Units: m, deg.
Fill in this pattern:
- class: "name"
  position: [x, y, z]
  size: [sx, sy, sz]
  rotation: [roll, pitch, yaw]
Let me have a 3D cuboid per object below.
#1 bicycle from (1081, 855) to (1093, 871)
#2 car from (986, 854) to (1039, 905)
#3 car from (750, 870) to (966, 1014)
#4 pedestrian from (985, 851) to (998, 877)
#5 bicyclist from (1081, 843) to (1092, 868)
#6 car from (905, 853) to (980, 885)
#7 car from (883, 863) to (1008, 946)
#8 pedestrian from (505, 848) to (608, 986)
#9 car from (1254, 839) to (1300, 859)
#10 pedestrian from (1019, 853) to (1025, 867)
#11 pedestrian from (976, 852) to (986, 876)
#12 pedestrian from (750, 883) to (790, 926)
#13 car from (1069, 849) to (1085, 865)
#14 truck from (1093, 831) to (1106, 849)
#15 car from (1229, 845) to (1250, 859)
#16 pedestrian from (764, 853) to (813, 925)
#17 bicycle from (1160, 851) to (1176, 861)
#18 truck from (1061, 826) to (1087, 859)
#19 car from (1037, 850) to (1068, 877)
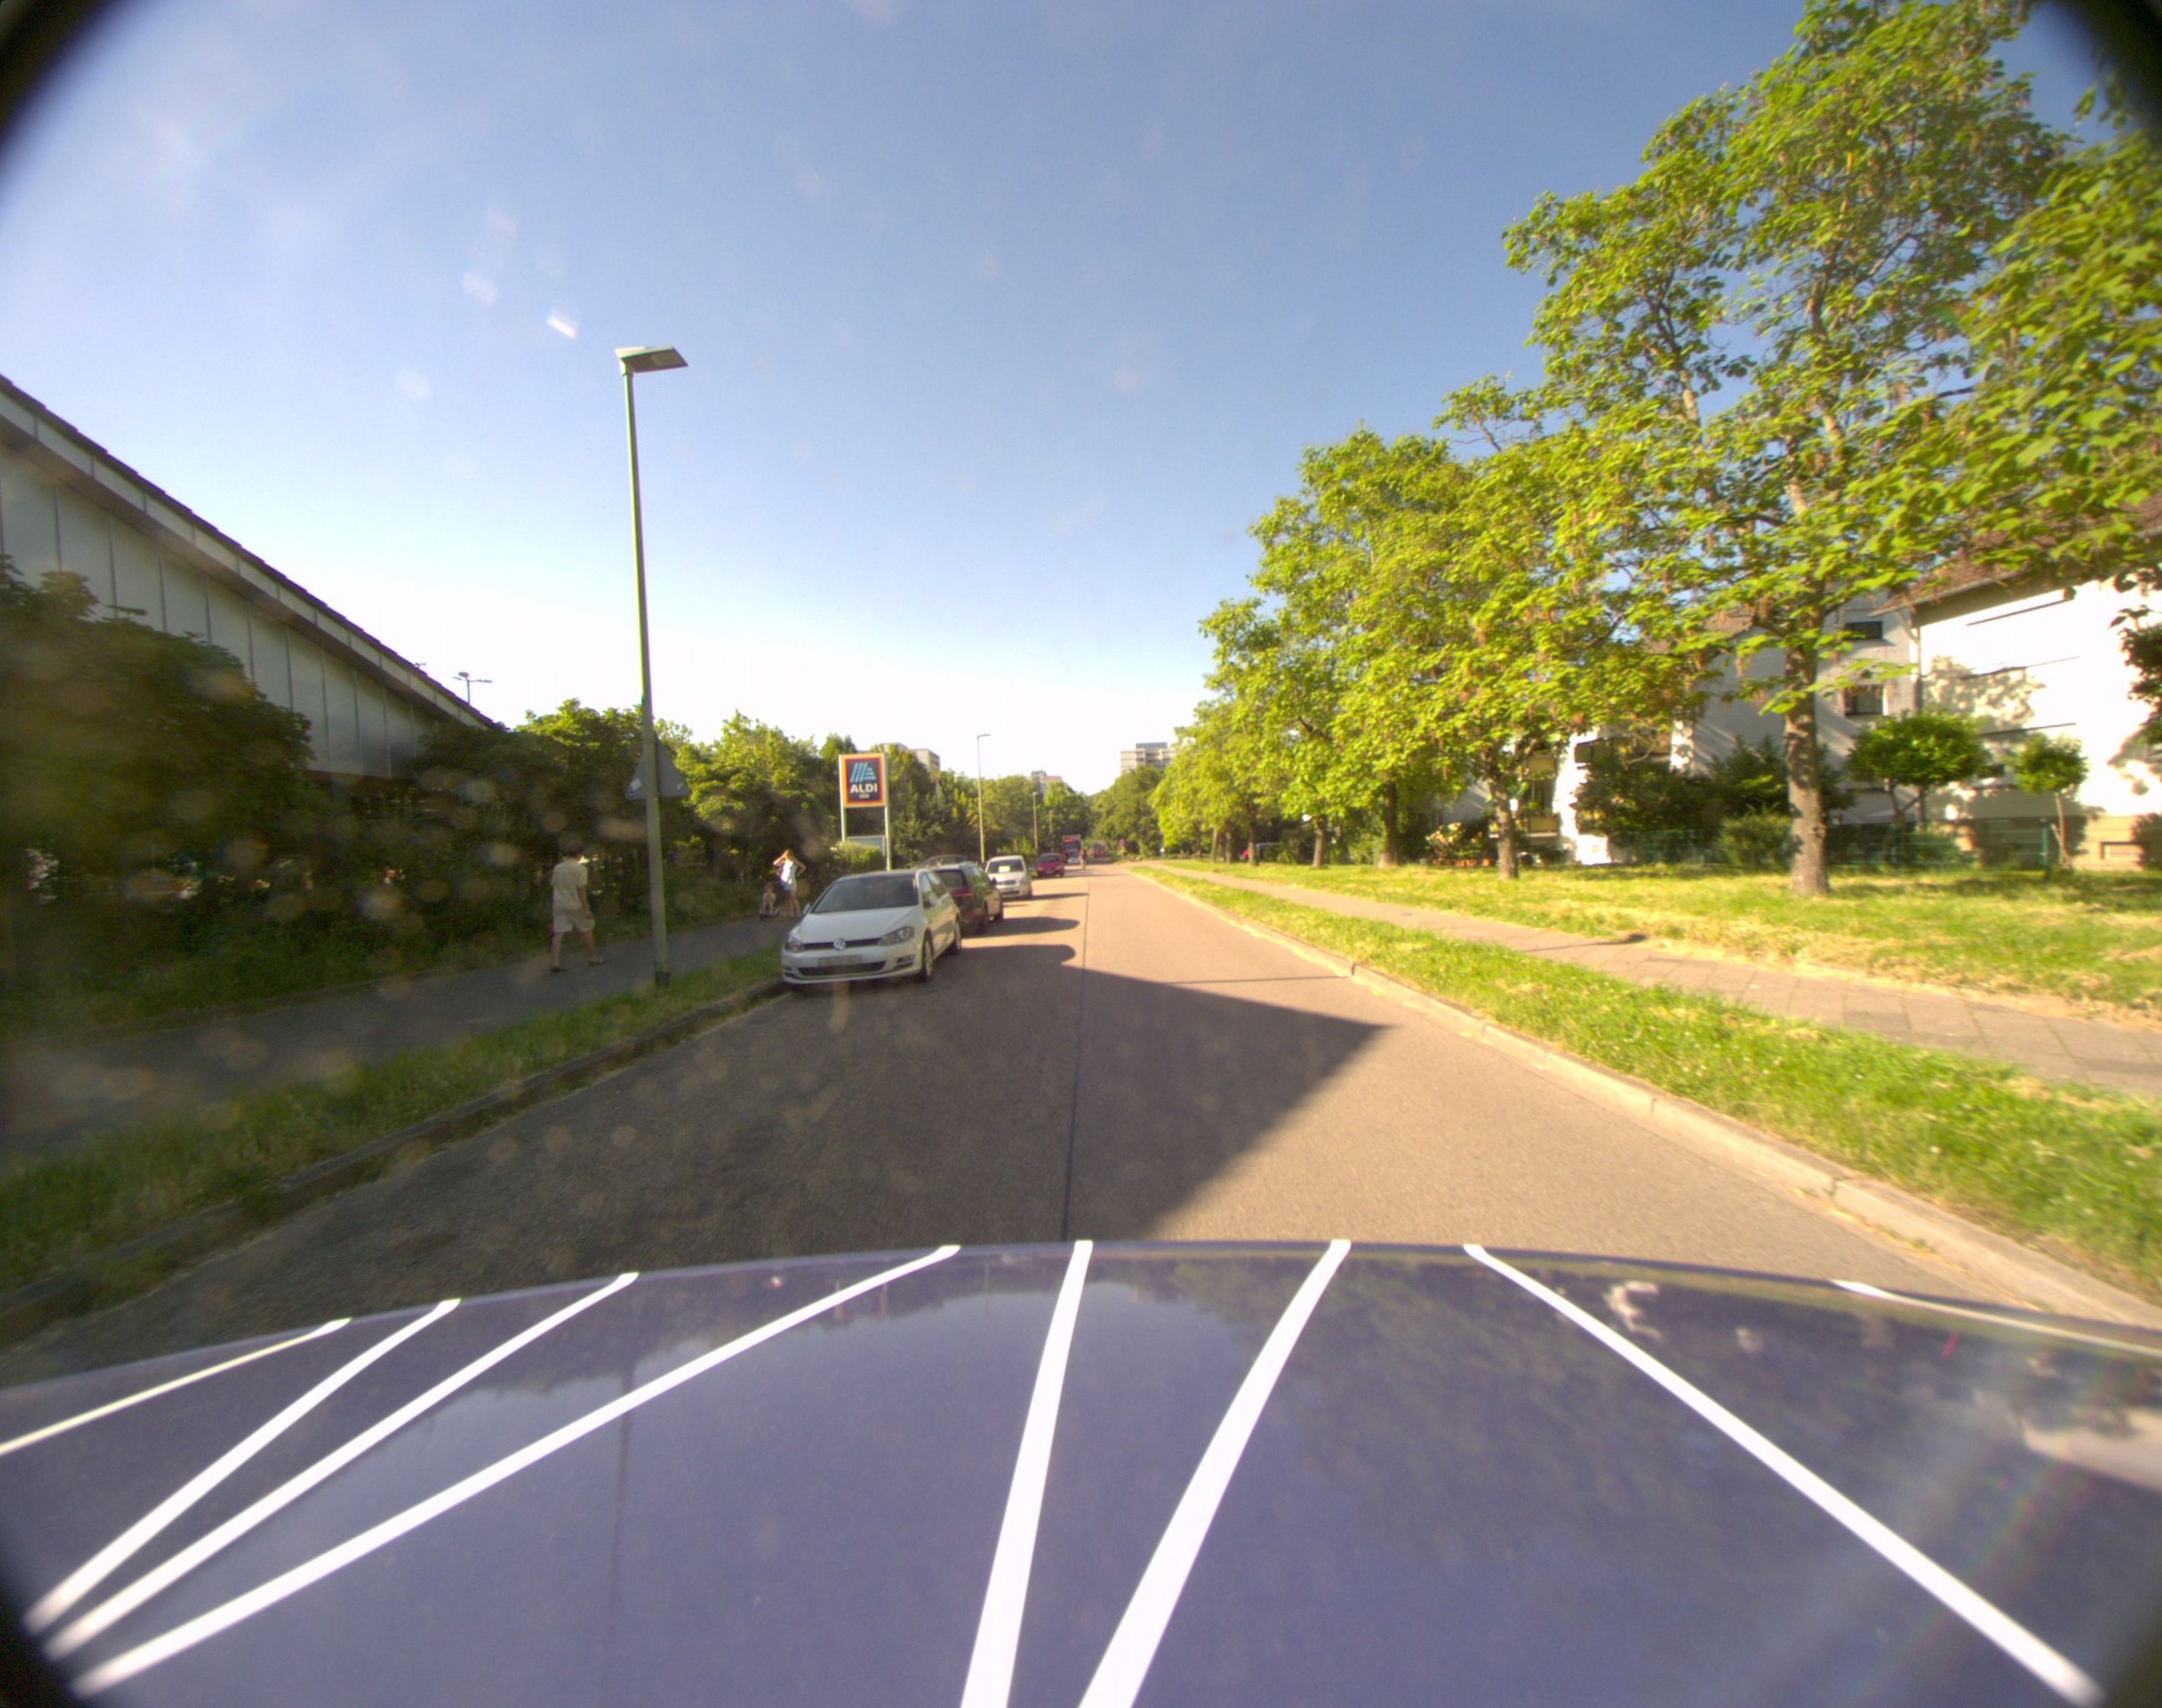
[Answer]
- class: "bicycle"
  position: [0.452, 0.692, 61.159]
  size: [0.863, 1.164, 3.030]
  rotation: [-3, 1, 0]
- class: "car"
  position: [-2.437, 0.873, 27.859]
  size: [1.684, 1.590, 4.026]
  rotation: [-3, 1, -3]
- class: "car"
  position: [-2.865, 1.053, 10.734]
  size: [1.831, 1.443, 3.999]
  rotation: [-3, 1, 0]
- class: "pedestrian"
  position: [-6.120, 0.658, 52.066]
  size: [0.806, 1.707, 0.983]
  rotation: [-1, 2, -3]
- class: "bicyclist"
  position: [0.448, 0.141, 61.266]
  size: [0.753, 2.002, 0.711]
  rotation: [-3, 1, -1]
- class: "car"
  position: [-7.785, 0.812, 42.671]
  size: [3.760, 1.635, 1.853]
  rotation: [-2, 1, -23]
- class: "car"
  position: [-2.795, 0.987, 16.651]
  size: [1.812, 1.435, 4.363]
  rotation: [-3, 0, 1]
- class: "pedestrian"
  position: [-7.417, 0.855, 10.787]
  size: [0.796, 1.850, 0.874]
  rotation: [-3, 1, -6]
- class: "car"
  position: [21.177, -0.531, 82.150]
  size: [4.461, 1.957, 2.069]
  rotation: [-2, 0, 4]
- class: "pedestrian"
  position: [-7.045, 0.763, 90.512]
  size: [0.641, 1.629, 0.641]
  rotation: [-2, 1, 4]
- class: "pedestrian"
  position: [-6.869, 0.686, 52.025]
  size: [0.574, 1.600, 0.792]
  rotation: [-1, 2, -3]
- class: "pedestrian"
  position: [-7.645, 1.222, 18.697]
  size: [0.533, 0.975, 0.811]
  rotation: [-2, 1, 9]
- class: "car"
  position: [-0.510, 0.324, 94.819]
  size: [1.845, 1.795, 4.028]
  rotation: [-3, 1, 0]
- class: "truck"
  position: [4.277, -3.244, 174.305]
  size: [2.803, 3.996, 9.623]
  rotation: [0, 2, 0]
- class: "car"
  position: [19.008, -0.258, 91.099]
  size: [1.674, 1.479, 3.884]
  rotation: [-2, 2, 0]
- class: "pedestrian"
  position: [-7.501, 0.888, 19.534]
  size: [0.800, 1.771, 0.809]
  rotation: [-2, 1, 9]
- class: "bicycle"
  position: [11.048, 0.219, 96.273]
  size: [1.902, 1.146, 0.760]
  rotation: [-2, 4, 11]
- class: "truck"
  position: [-0.935, -1.666, 109.456]
  size: [3.166, 4.320, 10.583]
  rotation: [-2, 1, 1]
- class: "car"
  position: [-2.014, 0.636, 54.708]
  size: [1.844, 1.795, 4.653]
  rotation: [-3, 1, 2]
